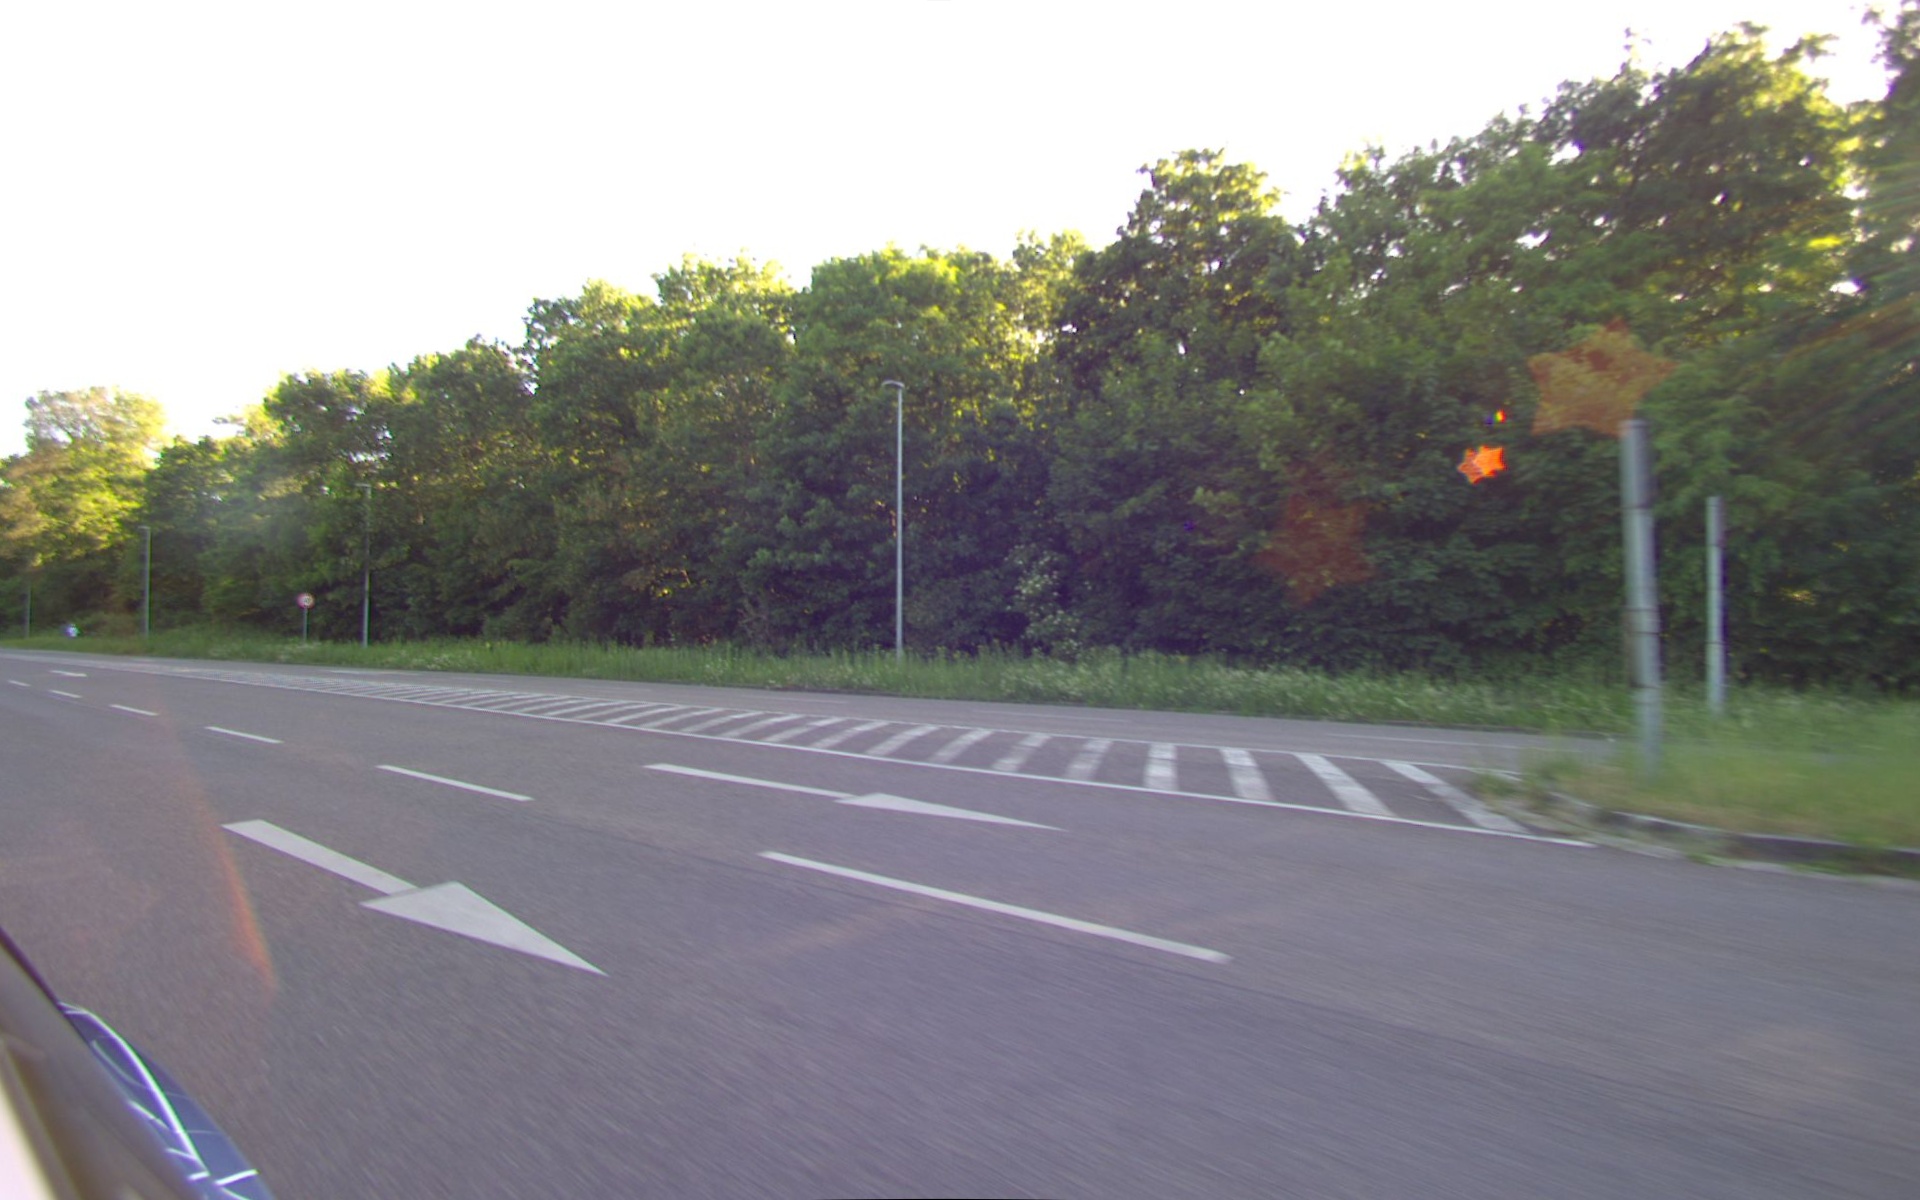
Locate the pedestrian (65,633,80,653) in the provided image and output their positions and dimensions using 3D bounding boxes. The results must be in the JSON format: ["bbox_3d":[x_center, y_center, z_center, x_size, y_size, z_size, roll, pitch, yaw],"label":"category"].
[{"bbox_3d":[-68.915,3.324,78.594,0.825,1.577,0.704,-2,-4,40],"label":"pedestrian"}]
